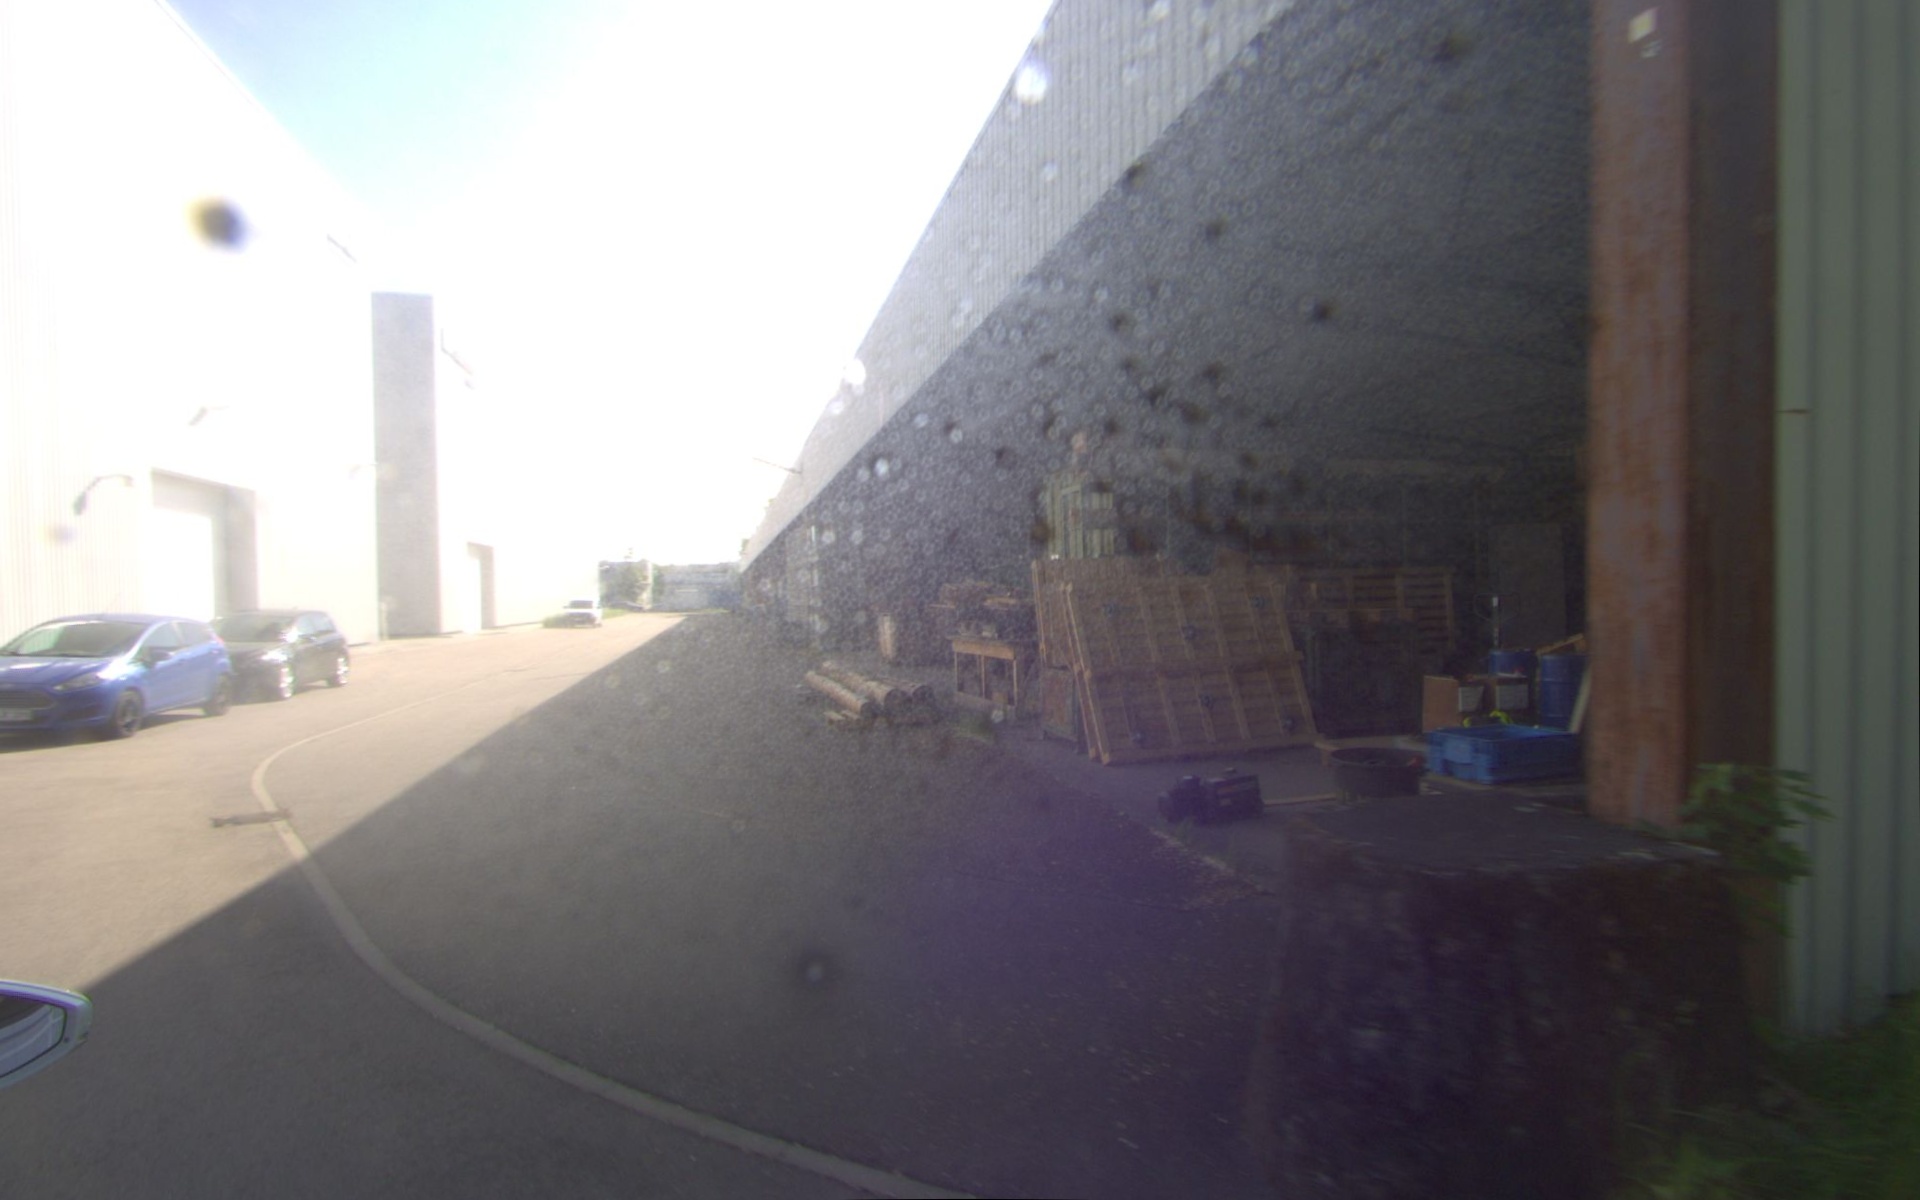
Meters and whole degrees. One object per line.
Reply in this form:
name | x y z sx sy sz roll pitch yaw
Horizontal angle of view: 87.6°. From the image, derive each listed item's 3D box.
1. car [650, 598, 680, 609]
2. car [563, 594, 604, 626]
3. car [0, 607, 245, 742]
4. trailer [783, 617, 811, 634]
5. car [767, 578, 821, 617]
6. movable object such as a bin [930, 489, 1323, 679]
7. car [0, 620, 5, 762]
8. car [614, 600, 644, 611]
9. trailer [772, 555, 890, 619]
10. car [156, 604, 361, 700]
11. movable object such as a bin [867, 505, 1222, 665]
car | -40.716 0.487 138.188 3.825 1.481 1.621 -1 1 -12
car | -22.272 0.576 59.406 1.880 1.818 3.993 -1 0 -16
car | -11.019 0.851 13.007 1.595 1.466 3.758 0 0 -15
trailer | -6.149 0.958 37.738 0.957 0.575 0.730 1 2 -18
car | -11.231 -0.198 67.628 3.452 2.474 1.997 -2 1 -13
movable object such as a bin | 2.842 -0.328 17.656 6.258 2.944 2.682 -2 1 -14
car | -9.619 0.874 7.649 1.644 1.368 3.947 1 0 -15
car | -45.594 0.759 138.054 3.827 1.481 1.620 -1 1 -15
trailer | -7.366 -0.766 57.116 6.293 3.416 2.820 -2 1 -15
car | -12.243 0.851 17.780 1.626 1.465 3.872 2 -1 -14
movable object such as a bin | 1.688 -0.358 20.858 6.831 2.944 2.682 -2 1 -14
